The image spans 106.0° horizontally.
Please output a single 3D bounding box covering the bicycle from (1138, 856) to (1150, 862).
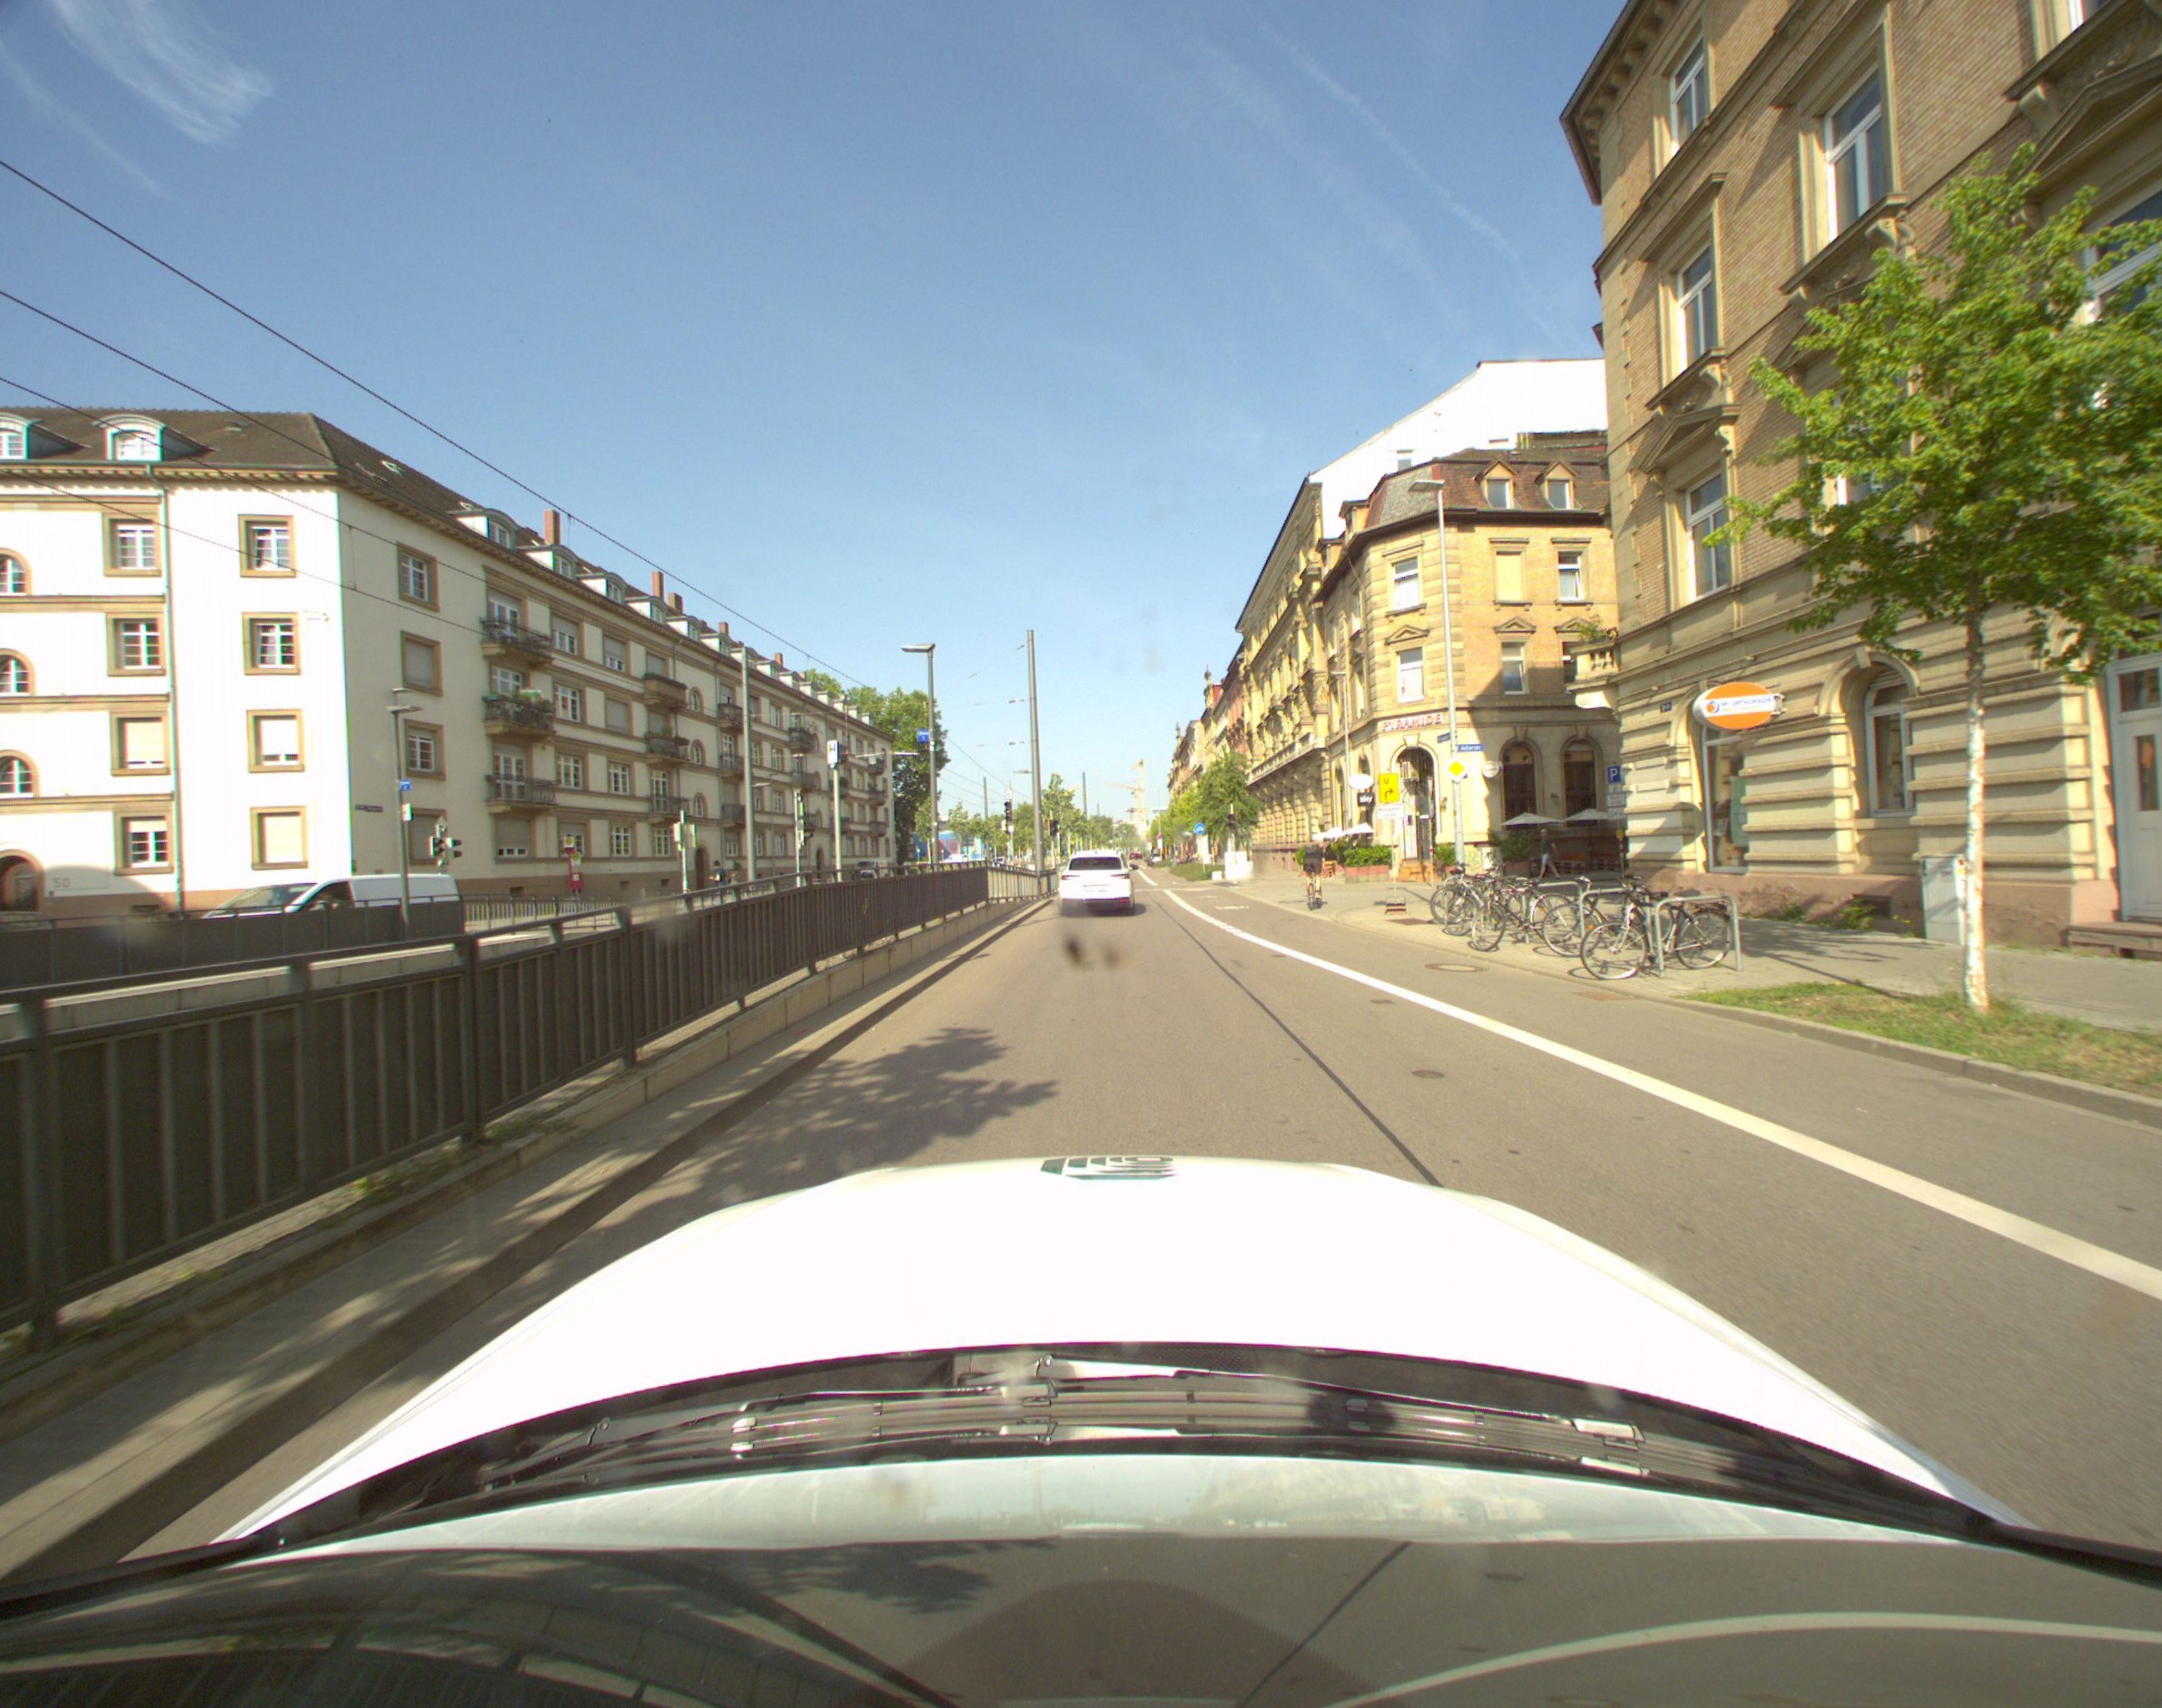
[{"bbox_3d":[12.957,0.955,167.238,2.229,1.104,0.589,-4,0,4],"label":"bicycle"}]

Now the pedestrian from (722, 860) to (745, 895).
[{"bbox_3d":[-21.157,1.442,49.595,0.838,2.068,1.158,-1,0,3],"label":"pedestrian"}]

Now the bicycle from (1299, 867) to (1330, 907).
[{"bbox_3d":[5.858,0.822,20.409,0.501,0.953,1.794,-2,-2,23],"label":"bicycle"}]

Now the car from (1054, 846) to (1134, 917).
[{"bbox_3d":[0.429,0.647,21.035,1.809,1.590,4.410,-2,0,3],"label":"car"}]

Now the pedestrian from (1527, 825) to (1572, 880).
[{"bbox_3d":[15.887,-0.062,27.627,0.859,1.806,0.992,-4,1,-2],"label":"pedestrian"}]

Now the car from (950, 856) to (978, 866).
[{"bbox_3d":[-29.510,1.795,205.329,6.893,2.638,2.499,0,-1,-18],"label":"car"}]

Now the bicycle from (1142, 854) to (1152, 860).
[{"bbox_3d":[13.621,0.591,168.862,1.925,0.986,0.471,-4,0,4],"label":"bicycle"}]

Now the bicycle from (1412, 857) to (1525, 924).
[{"bbox_3d":[7.222,0.671,15.238,1.744,1.087,0.584,-5,0,5],"label":"bicycle"}]

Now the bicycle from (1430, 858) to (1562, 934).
[{"bbox_3d":[6.796,0.685,13.395,1.745,1.087,0.670,-5,0,8],"label":"bicycle"}]

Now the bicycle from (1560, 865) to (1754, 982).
[{"bbox_3d":[6.436,0.749,9.136,1.754,1.087,0.609,-6,0,-7],"label":"bicycle"}]

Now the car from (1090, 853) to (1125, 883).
[{"bbox_3d":[1.448,0.704,43.032,1.747,1.484,4.410,-2,0,3],"label":"car"}]

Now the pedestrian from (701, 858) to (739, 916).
[{"bbox_3d":[-12.038,1.079,27.147,1.073,1.867,0.857,-2,-1,-25],"label":"pedestrian"}]

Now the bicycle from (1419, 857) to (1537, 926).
[{"bbox_3d":[7.111,0.666,14.640,1.744,1.087,0.584,-5,0,5],"label":"bicycle"}]

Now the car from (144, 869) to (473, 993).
[{"bbox_3d":[-15.701,1.431,17.068,1.986,2.013,4.934,-3,0,2],"label":"car"}]

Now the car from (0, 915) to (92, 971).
[{"bbox_3d":[-30.109,2.528,22.169,1.577,1.354,3.995,-3,0,-4],"label":"car"}]

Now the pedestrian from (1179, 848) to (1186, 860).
[{"bbox_3d":[14.593,0.047,117.437,0.820,1.696,0.793,-4,0,-1],"label":"pedestrian"}]

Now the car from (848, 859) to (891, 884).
[{"bbox_3d":[-17.988,1.452,69.410,1.985,1.918,5.158,-1,0,3],"label":"car"}]

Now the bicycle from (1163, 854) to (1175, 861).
[{"bbox_3d":[12.515,0.496,115.740,0.449,1.082,1.888,-5,-3,44],"label":"bicycle"}]

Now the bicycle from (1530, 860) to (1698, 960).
[{"bbox_3d":[6.970,0.704,10.685,1.754,1.087,0.656,-6,0,-7],"label":"bicycle"}]

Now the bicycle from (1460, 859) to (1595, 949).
[{"bbox_3d":[6.553,0.715,11.946,1.762,1.087,0.668,-6,0,-20],"label":"bicycle"}]

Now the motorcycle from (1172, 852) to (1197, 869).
[{"bbox_3d":[8.728,0.563,68.490,2.049,1.287,0.698,-4,1,-31],"label":"motorcycle"}]

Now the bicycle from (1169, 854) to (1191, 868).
[{"bbox_3d":[8.850,0.655,72.635,1.802,1.096,0.671,-4,0,-3],"label":"bicycle"}]

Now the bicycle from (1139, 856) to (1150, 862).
[{"bbox_3d":[13.014,0.960,167.791,2.229,1.104,0.519,-4,0,4],"label":"bicycle"}]

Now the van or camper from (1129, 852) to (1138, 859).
[{"bbox_3d":[11.963,0.356,186.496,1.986,1.655,4.002,-3,0,2],"label":"van or camper"}]

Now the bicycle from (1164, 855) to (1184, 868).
[{"bbox_3d":[8.449,0.666,73.975,1.778,1.054,0.373,-4,0,1],"label":"bicycle"}]

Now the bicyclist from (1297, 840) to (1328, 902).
[{"bbox_3d":[5.752,0.433,20.188,0.578,1.482,0.936,-2,-3,23],"label":"bicyclist"}]

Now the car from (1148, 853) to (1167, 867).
[{"bbox_3d":[8.911,0.685,95.332,1.764,1.588,4.246,-4,0,-1],"label":"car"}]

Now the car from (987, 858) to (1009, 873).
[{"bbox_3d":[-11.153,1.560,109.596,1.985,1.895,5.051,-3,0,3],"label":"car"}]
